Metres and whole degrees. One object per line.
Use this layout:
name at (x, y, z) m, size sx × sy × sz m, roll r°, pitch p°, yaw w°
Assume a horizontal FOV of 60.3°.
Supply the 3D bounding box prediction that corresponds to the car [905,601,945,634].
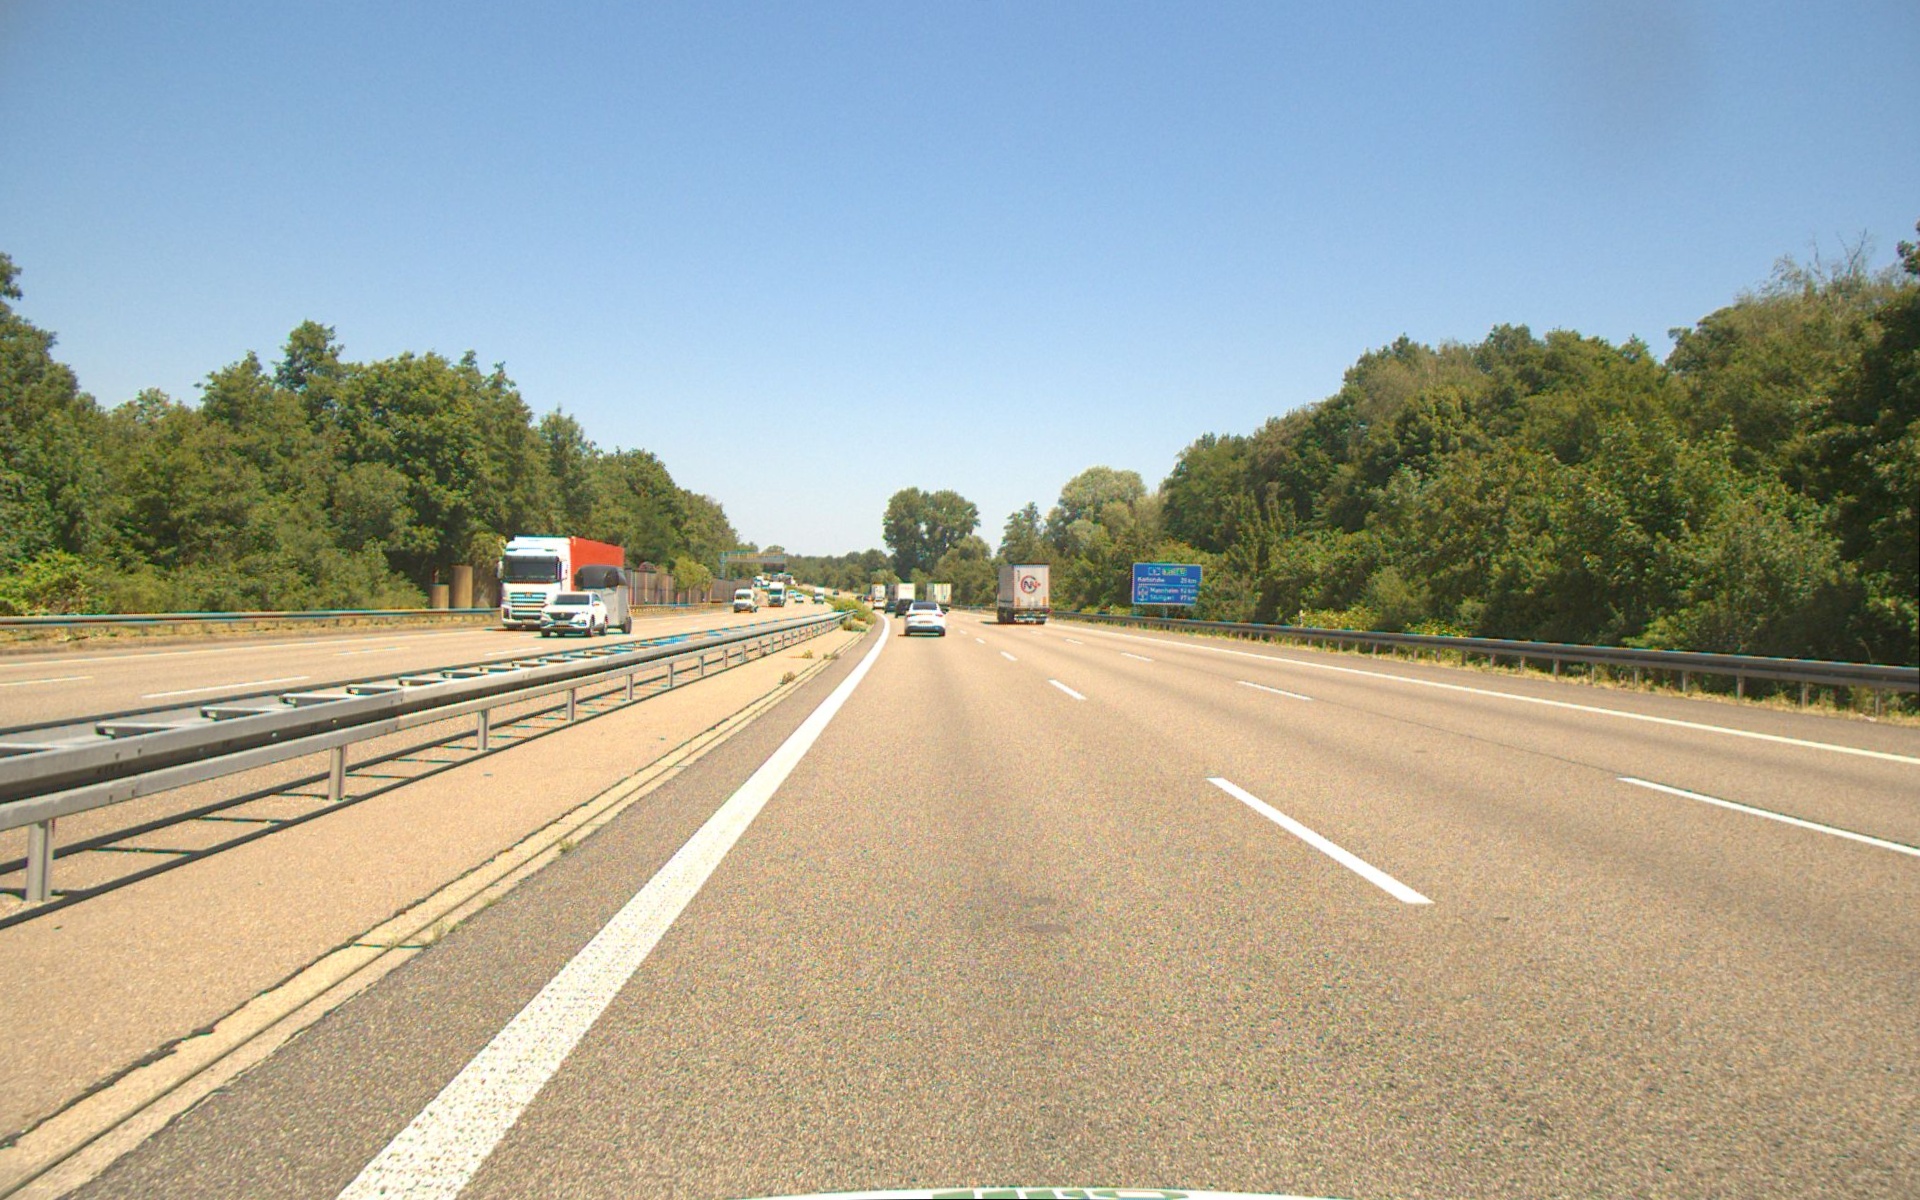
car at (-1.537, 0.746, 72.921) m, size 1.680 × 1.393 × 3.374 m, roll 1°, pitch 0°, yaw -1°

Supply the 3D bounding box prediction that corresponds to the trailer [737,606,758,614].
trailer at (-24.097, 1.096, 187.406) m, size 2.121 × 0.821 × 6.268 m, roll 1°, pitch 0°, yaw -9°

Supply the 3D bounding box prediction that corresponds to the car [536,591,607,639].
car at (-14.135, 0.537, 60.422) m, size 1.799 × 1.660 × 4.017 m, roll 1°, pitch 0°, yaw -3°

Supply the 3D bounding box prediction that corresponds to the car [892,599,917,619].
car at (-5.037, 0.791, 148.576) m, size 1.955 × 1.803 × 3.995 m, roll 0°, pitch 0°, yaw -6°

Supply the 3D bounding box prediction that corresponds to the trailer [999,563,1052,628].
trailer at (4.599, -0.311, 118.630) m, size 2.571 × 4.335 × 14.053 m, roll 1°, pitch 0°, yaw -2°

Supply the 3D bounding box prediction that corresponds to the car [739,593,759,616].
car at (-23.186, 0.523, 181.644) m, size 1.987 × 2.473 × 5.400 m, roll 1°, pitch 0°, yaw -10°

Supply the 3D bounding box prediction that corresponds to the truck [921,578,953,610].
truck at (-3.293, -0.842, 237.523) m, size 3.426 × 4.386 × 10.971 m, roll 1°, pitch 0°, yaw -7°

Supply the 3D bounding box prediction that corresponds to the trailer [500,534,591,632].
trailer at (-18.196, -0.717, 72.964) m, size 2.634 × 4.113 × 6.034 m, roll 1°, pitch 0°, yaw -2°

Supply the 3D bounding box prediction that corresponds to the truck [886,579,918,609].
truck at (-8.775, -0.950, 250.510) m, size 3.299 × 4.386 × 10.801 m, roll 1°, pitch 0°, yaw -10°

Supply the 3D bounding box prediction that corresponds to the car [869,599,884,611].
car at (-12.798, 0.760, 252.982) m, size 1.693 × 1.814 × 3.989 m, roll 0°, pitch 0°, yaw -11°

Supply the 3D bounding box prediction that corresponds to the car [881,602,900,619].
car at (-8.464, 1.268, 202.083) m, size 1.956 × 2.049 × 3.993 m, roll 0°, pitch 0°, yaw -8°

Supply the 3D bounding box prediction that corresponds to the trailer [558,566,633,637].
trailer at (-14.248, 0.053, 64.902) m, size 2.044 × 2.659 × 4.953 m, roll 0°, pitch 0°, yaw -3°

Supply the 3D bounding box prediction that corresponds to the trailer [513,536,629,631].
trailer at (-18.398, -0.724, 79.239) m, size 2.630 × 4.139 × 14.045 m, roll 1°, pitch 0°, yaw -2°
